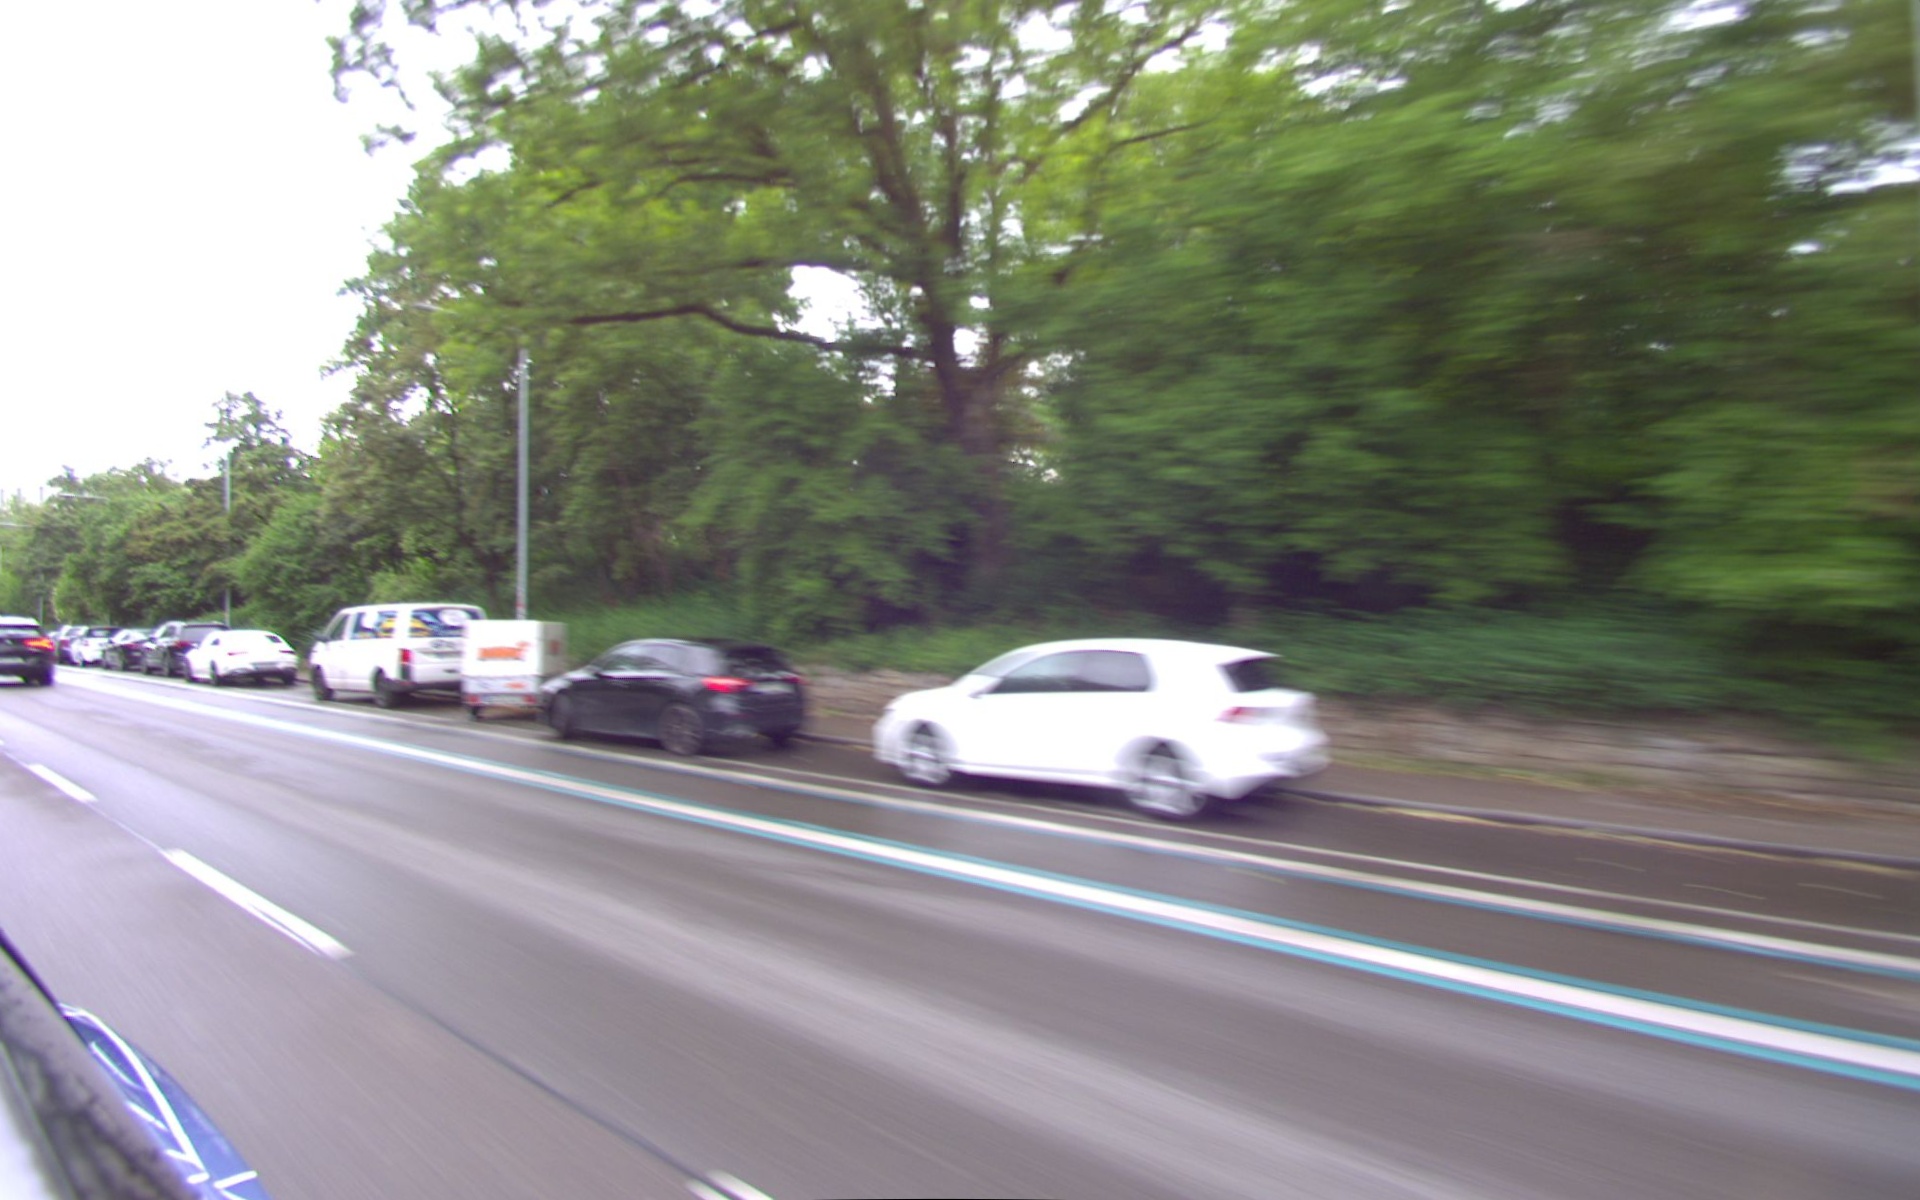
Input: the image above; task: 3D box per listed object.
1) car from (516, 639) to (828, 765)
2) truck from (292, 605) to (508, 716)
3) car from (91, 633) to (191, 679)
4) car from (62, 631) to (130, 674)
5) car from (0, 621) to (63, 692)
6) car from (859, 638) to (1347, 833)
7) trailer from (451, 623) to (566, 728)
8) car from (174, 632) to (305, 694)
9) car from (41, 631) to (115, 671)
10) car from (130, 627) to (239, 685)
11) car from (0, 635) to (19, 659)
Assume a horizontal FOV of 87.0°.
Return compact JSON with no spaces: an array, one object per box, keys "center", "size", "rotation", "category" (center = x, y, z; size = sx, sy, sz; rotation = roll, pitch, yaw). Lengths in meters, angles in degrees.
[{"center":[-3.995,1.252,13.684],"size":[4.439,1.409,1.804],"rotation":[-1,-2,38],"category":"car"},{"center":[-11.609,1.177,20.835],"size":[5.152,2.029,2.073],"rotation":[-2,-2,38],"category":"truck"},{"center":[-28.985,1.941,35.772],"size":[4.549,1.486,1.877],"rotation":[-2,-2,40],"category":"car"},{"center":[-33.398,2.009,39.105],"size":[2.858,1.606,1.508],"rotation":[-2,-3,40],"category":"car"},{"center":[-24.010,1.375,25.104],"size":[4.475,1.662,2.017],"rotation":[-2,-3,41],"category":"car"},{"center":[1.191,1.102,9.654],"size":[4.352,1.446,1.737],"rotation":[-2,-3,39],"category":"car"},{"center":[-7.673,1.241,17.365],"size":[1.329,1.670,2.271],"rotation":[0,-2,-11],"category":"trailer"},{"center":[-19.514,1.631,27.323],"size":[4.750,1.509,1.788],"rotation":[-1,-2,41],"category":"car"},{"center":[-36.590,2.082,41.948],"size":[3.990,1.600,1.795],"rotation":[-2,-3,42],"category":"car"},{"center":[-24.341,1.715,31.722],"size":[4.669,1.673,1.718],"rotation":[-2,-3,40],"category":"car"},{"center":[-59.898,2.896,62.824],"size":[3.556,1.490,1.802],"rotation":[-2,-3,41],"category":"car"}]
